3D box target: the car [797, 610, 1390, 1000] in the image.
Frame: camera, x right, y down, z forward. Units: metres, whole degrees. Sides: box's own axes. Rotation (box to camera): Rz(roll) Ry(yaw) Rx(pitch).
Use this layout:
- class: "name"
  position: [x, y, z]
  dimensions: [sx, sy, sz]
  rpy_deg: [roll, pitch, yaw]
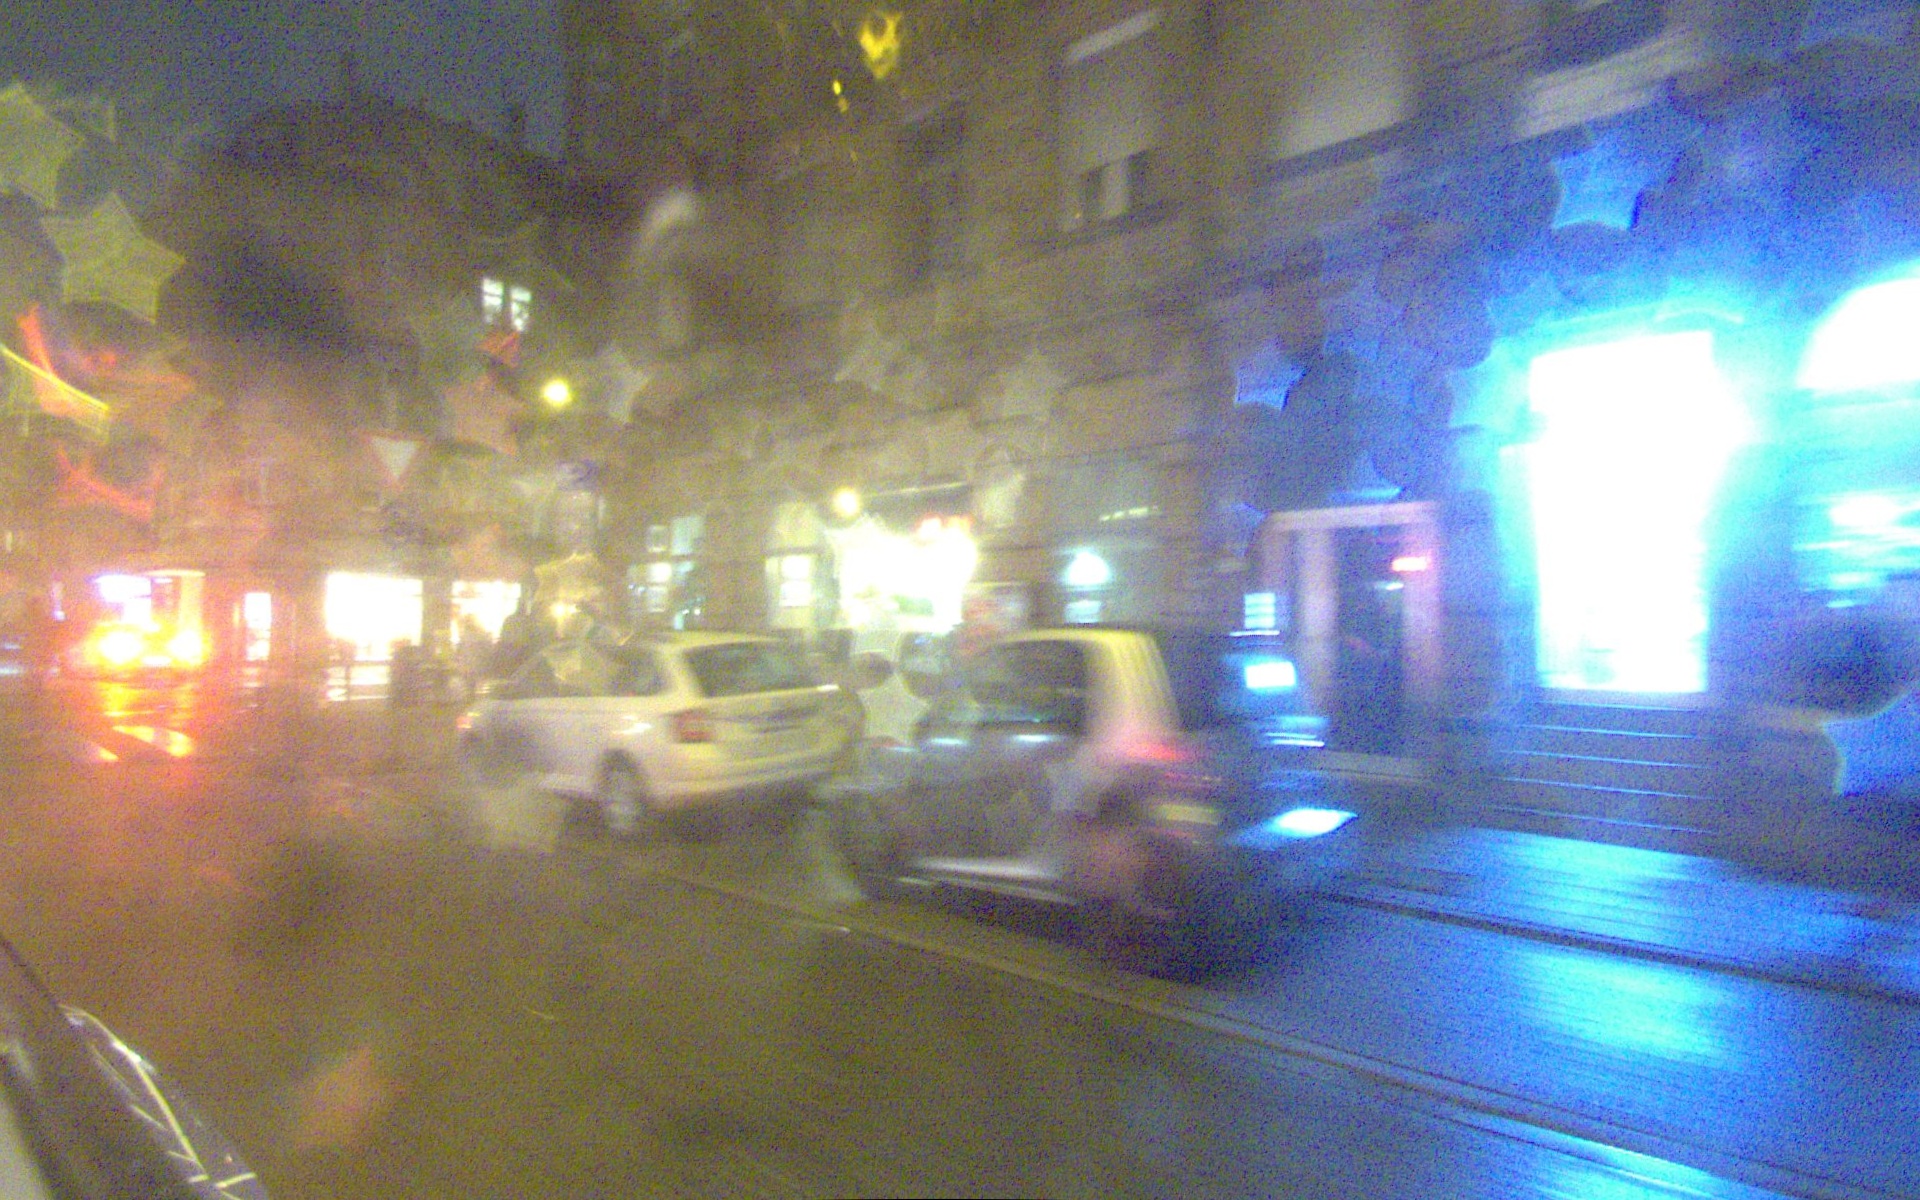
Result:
- class: "car"
  position: [0.620, 0.833, 5.481]
  dimensions: [2.786, 1.521, 1.569]
  rpy_deg: [-2, -2, 41]

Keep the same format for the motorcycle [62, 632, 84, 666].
- class: "motorcycle"
  position: [-39.676, 2.181, 45.248]
  dimensions: [1.457, 1.482, 0.531]
  rpy_deg: [-1, -1, 41]

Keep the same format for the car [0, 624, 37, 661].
- class: "car"
  position: [-40.304, 1.748, 42.429]
  dimensions: [5.028, 1.490, 1.827]
  rpy_deg: [-1, -2, 41]

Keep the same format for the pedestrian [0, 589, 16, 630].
- class: "pedestrian"
  position: [-52.695, 0.527, 55.793]
  dimensions: [1.115, 2.258, 0.791]
  rpy_deg: [-1, -2, 40]

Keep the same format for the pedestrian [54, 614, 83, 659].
- class: "pedestrian"
  position: [-36.053, 1.466, 40.945]
  dimensions: [0.815, 1.784, 0.601]
  rpy_deg: [0, -1, -37]

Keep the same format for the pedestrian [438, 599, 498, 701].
- class: "pedestrian"
  position: [-9.376, 0.948, 19.270]
  dimensions: [0.786, 1.872, 0.948]
  rpy_deg: [3, -4, -36]

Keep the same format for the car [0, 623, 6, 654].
- class: "car"
  position: [-48.185, 1.880, 49.415]
  dimensions: [4.154, 1.490, 1.700]
  rpy_deg: [-1, -2, 38]

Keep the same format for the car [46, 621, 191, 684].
- class: "car"
  position: [-21.373, 1.293, 25.664]
  dimensions: [4.054, 1.438, 1.551]
  rpy_deg: [0, -2, 31]

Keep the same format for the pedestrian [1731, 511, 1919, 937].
- class: "pedestrian"
  position: [4.553, 0.540, 4.902]
  dimensions: [0.969, 1.879, 1.029]
  rpy_deg: [-1, 0, 17]

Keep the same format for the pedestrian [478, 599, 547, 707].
- class: "pedestrian"
  position: [-7.686, 0.872, 17.375]
  dimensions: [0.794, 1.779, 1.017]
  rpy_deg: [-1, 0, -43]

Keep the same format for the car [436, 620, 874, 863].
- class: "car"
  position: [-2.688, 0.956, 8.391]
  dimensions: [4.022, 1.474, 1.570]
  rpy_deg: [-2, 1, 41]
